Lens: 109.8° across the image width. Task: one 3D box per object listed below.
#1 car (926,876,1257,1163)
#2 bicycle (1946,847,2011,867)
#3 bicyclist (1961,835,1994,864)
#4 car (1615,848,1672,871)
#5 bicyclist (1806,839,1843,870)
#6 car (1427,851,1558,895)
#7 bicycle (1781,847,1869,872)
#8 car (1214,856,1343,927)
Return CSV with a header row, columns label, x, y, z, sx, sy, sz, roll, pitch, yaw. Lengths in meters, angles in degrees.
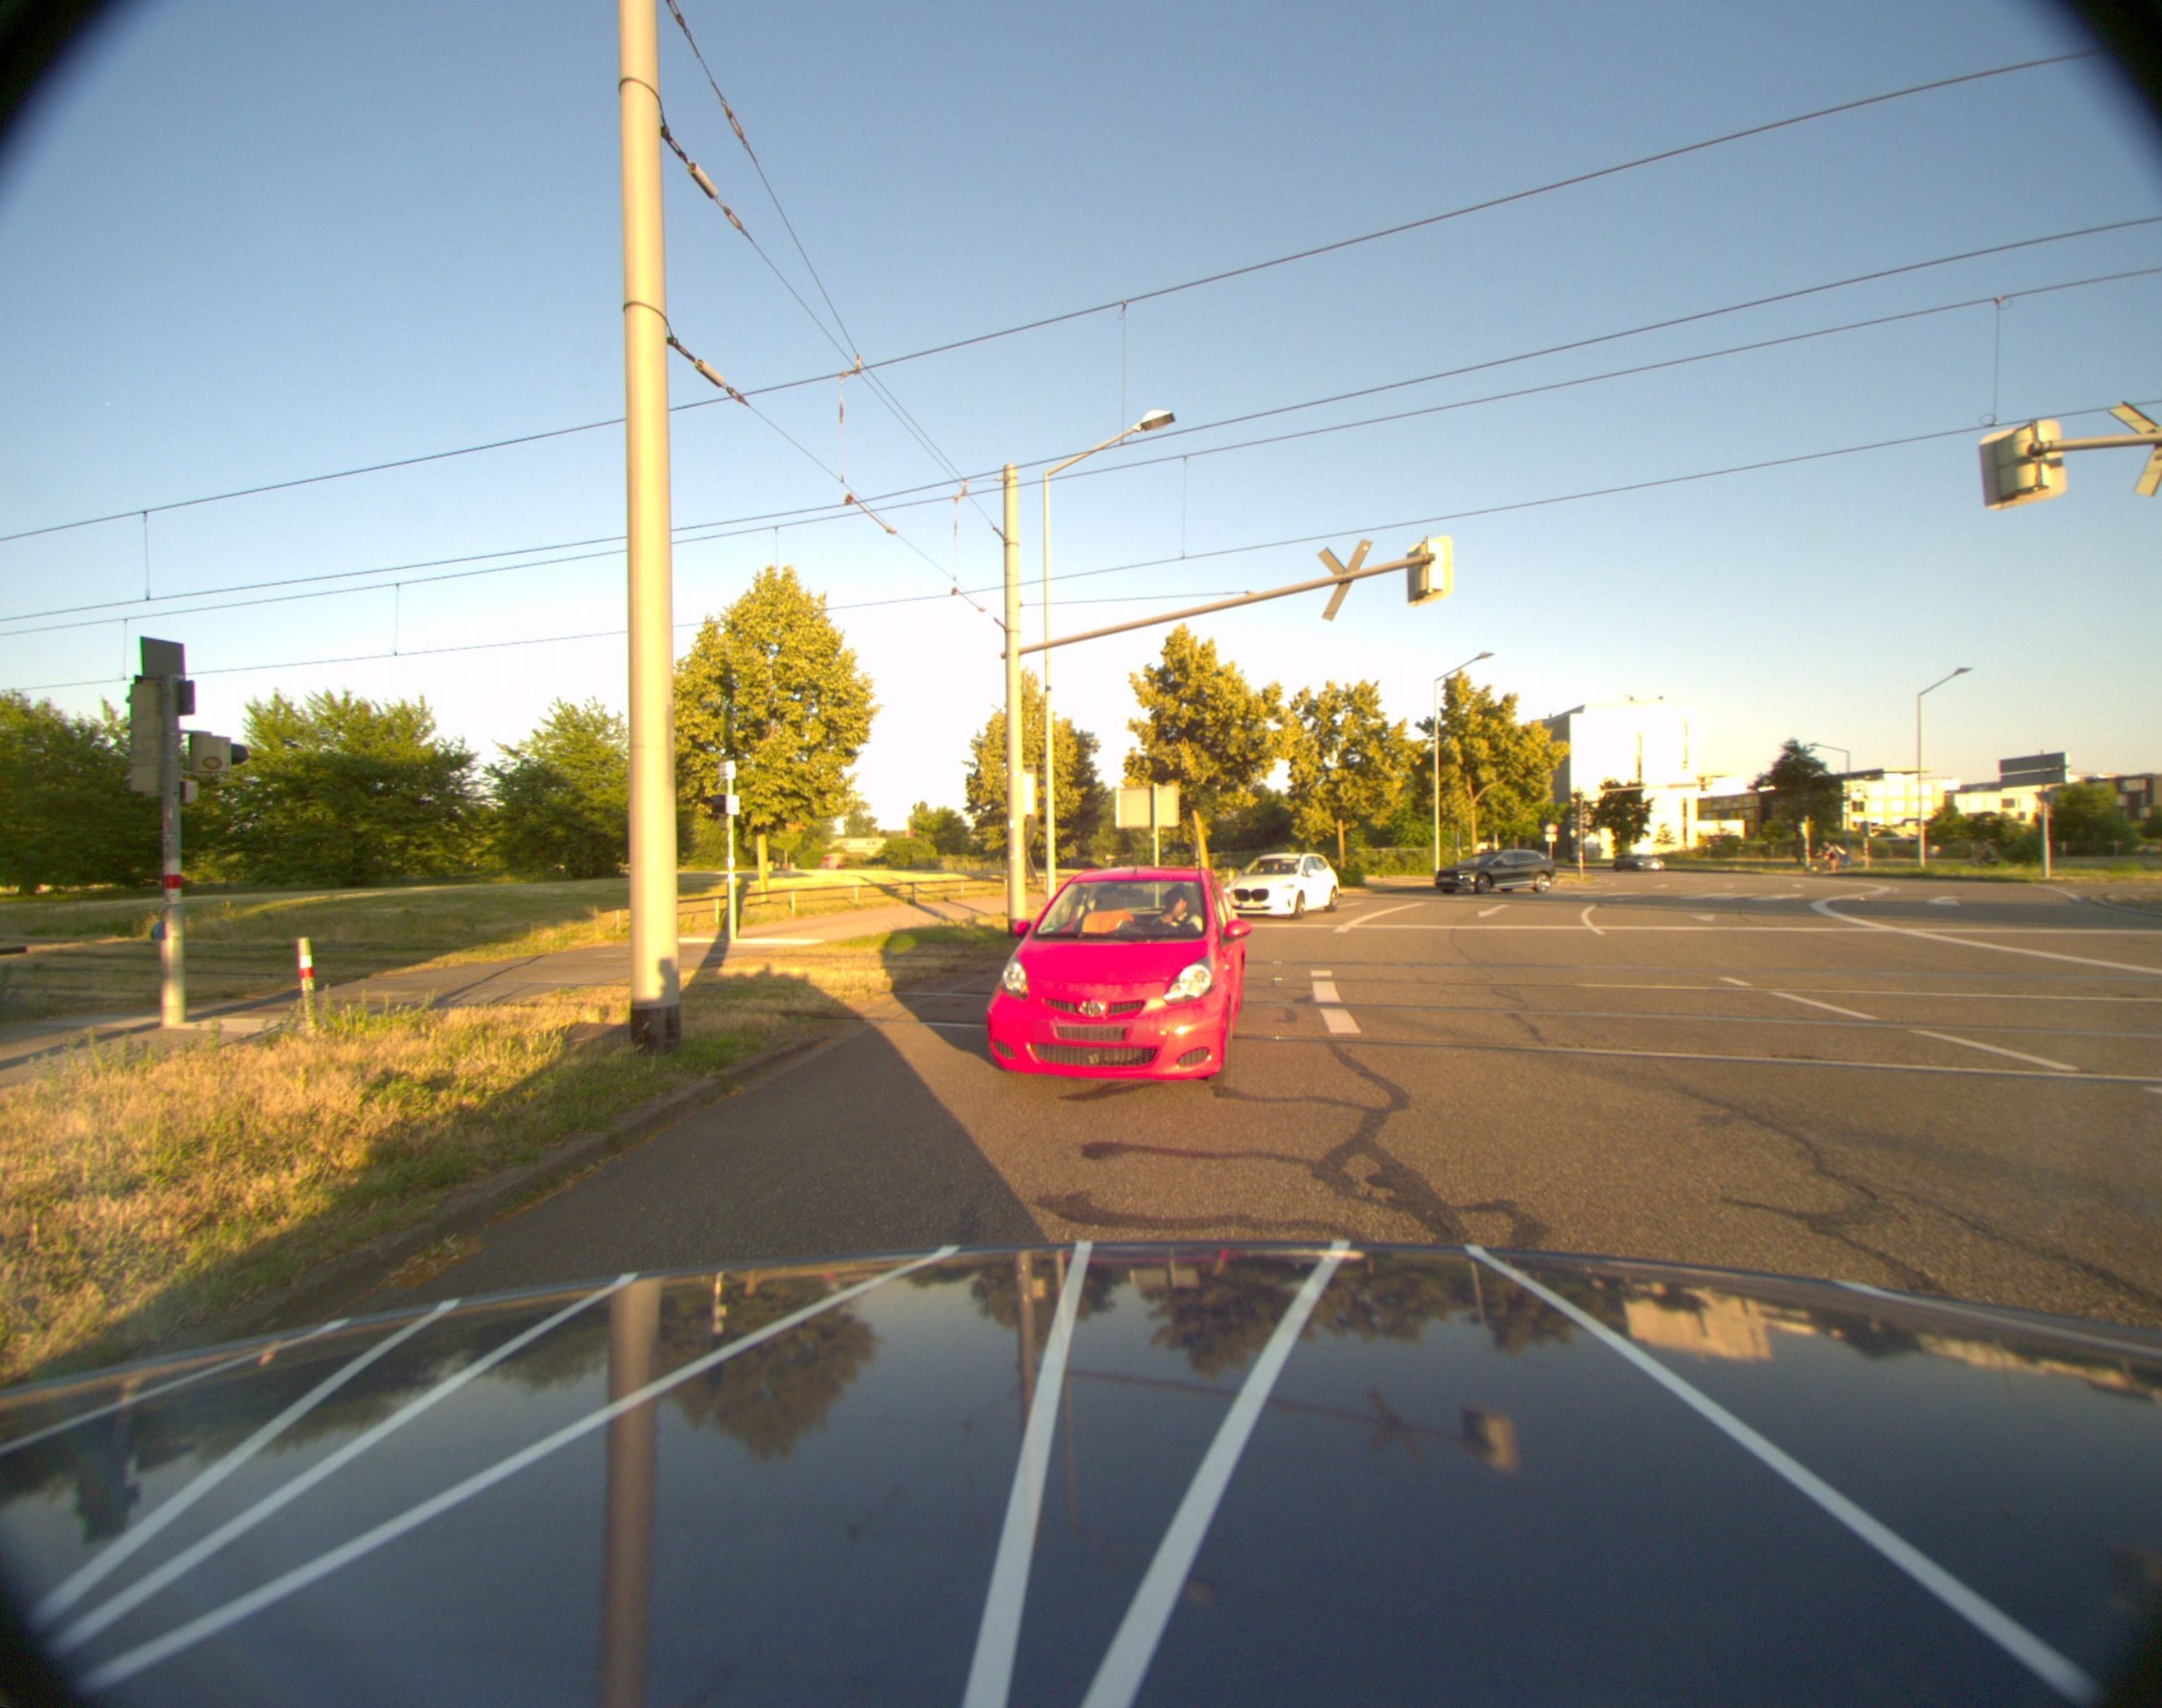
label,x,y,z,sx,sy,sz,roll,pitch,yaw
car,0.479,0.968,6.332,1.691,1.413,4.216,-1,0,16
bicycle,52.368,0.172,44.381,2.323,1.172,0.812,-1,1,28
bicyclist,52.352,-0.263,44.369,0.998,1.623,0.812,0,1,29
car,43.632,0.394,59.059,1.870,1.616,4.196,-1,1,10
bicyclist,43.432,0.022,44.392,1.413,1.739,1.126,0,1,36
car,15.327,0.682,28.372,4.217,1.549,1.826,-1,0,-15
bicycle,43.397,0.312,44.419,3.529,1.387,1.126,-1,1,36
car,5.046,0.849,19.021,1.755,1.549,4.223,-1,0,35
